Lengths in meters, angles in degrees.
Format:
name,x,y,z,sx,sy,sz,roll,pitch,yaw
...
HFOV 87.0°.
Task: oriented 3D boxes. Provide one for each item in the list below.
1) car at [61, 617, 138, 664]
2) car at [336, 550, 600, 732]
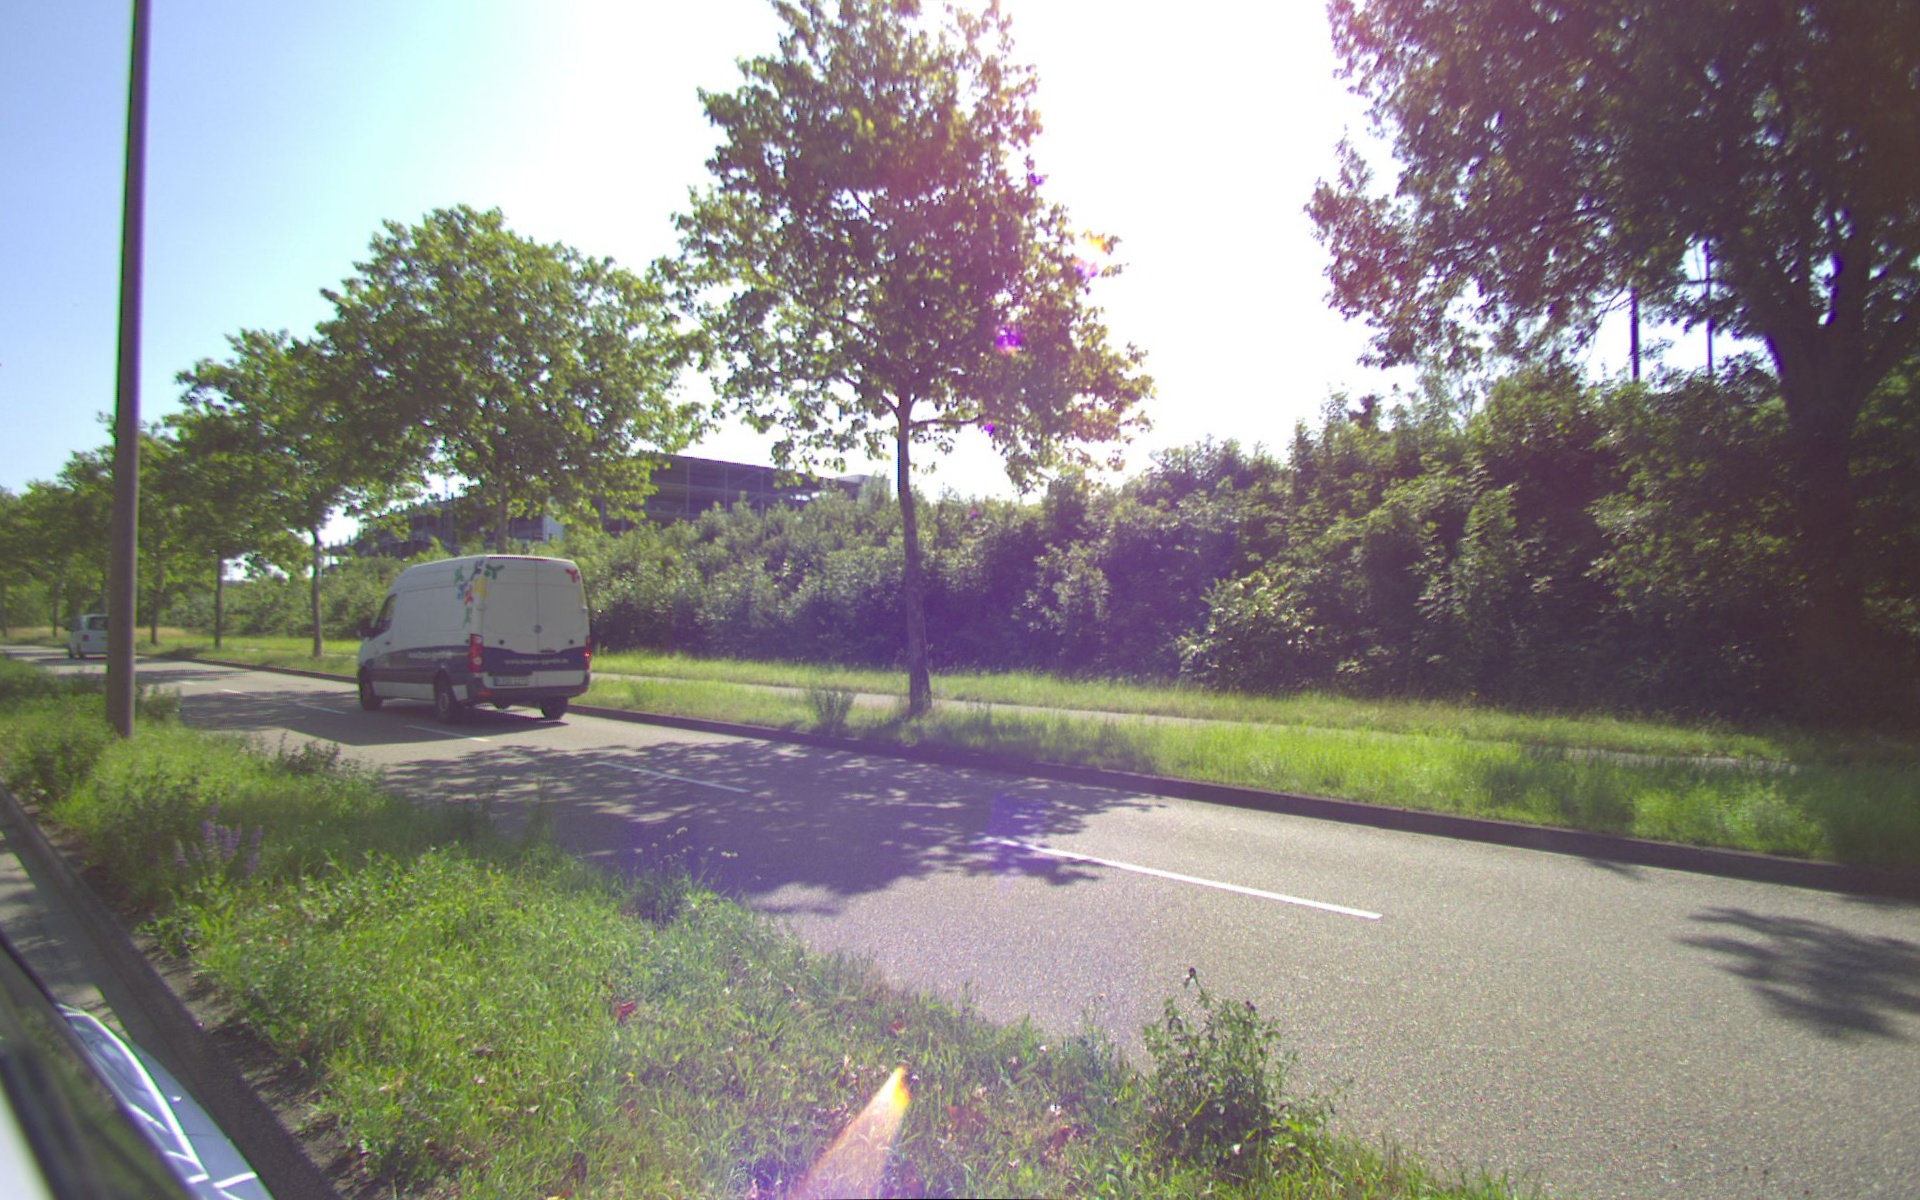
name,x,y,z,sx,sy,sz,roll,pitch,yaw
car,-37.651,1.761,44.241,4.574,1.912,1.972,-1,-4,43
car,-8.683,0.678,17.576,5.783,2.683,1.973,-1,-3,41
